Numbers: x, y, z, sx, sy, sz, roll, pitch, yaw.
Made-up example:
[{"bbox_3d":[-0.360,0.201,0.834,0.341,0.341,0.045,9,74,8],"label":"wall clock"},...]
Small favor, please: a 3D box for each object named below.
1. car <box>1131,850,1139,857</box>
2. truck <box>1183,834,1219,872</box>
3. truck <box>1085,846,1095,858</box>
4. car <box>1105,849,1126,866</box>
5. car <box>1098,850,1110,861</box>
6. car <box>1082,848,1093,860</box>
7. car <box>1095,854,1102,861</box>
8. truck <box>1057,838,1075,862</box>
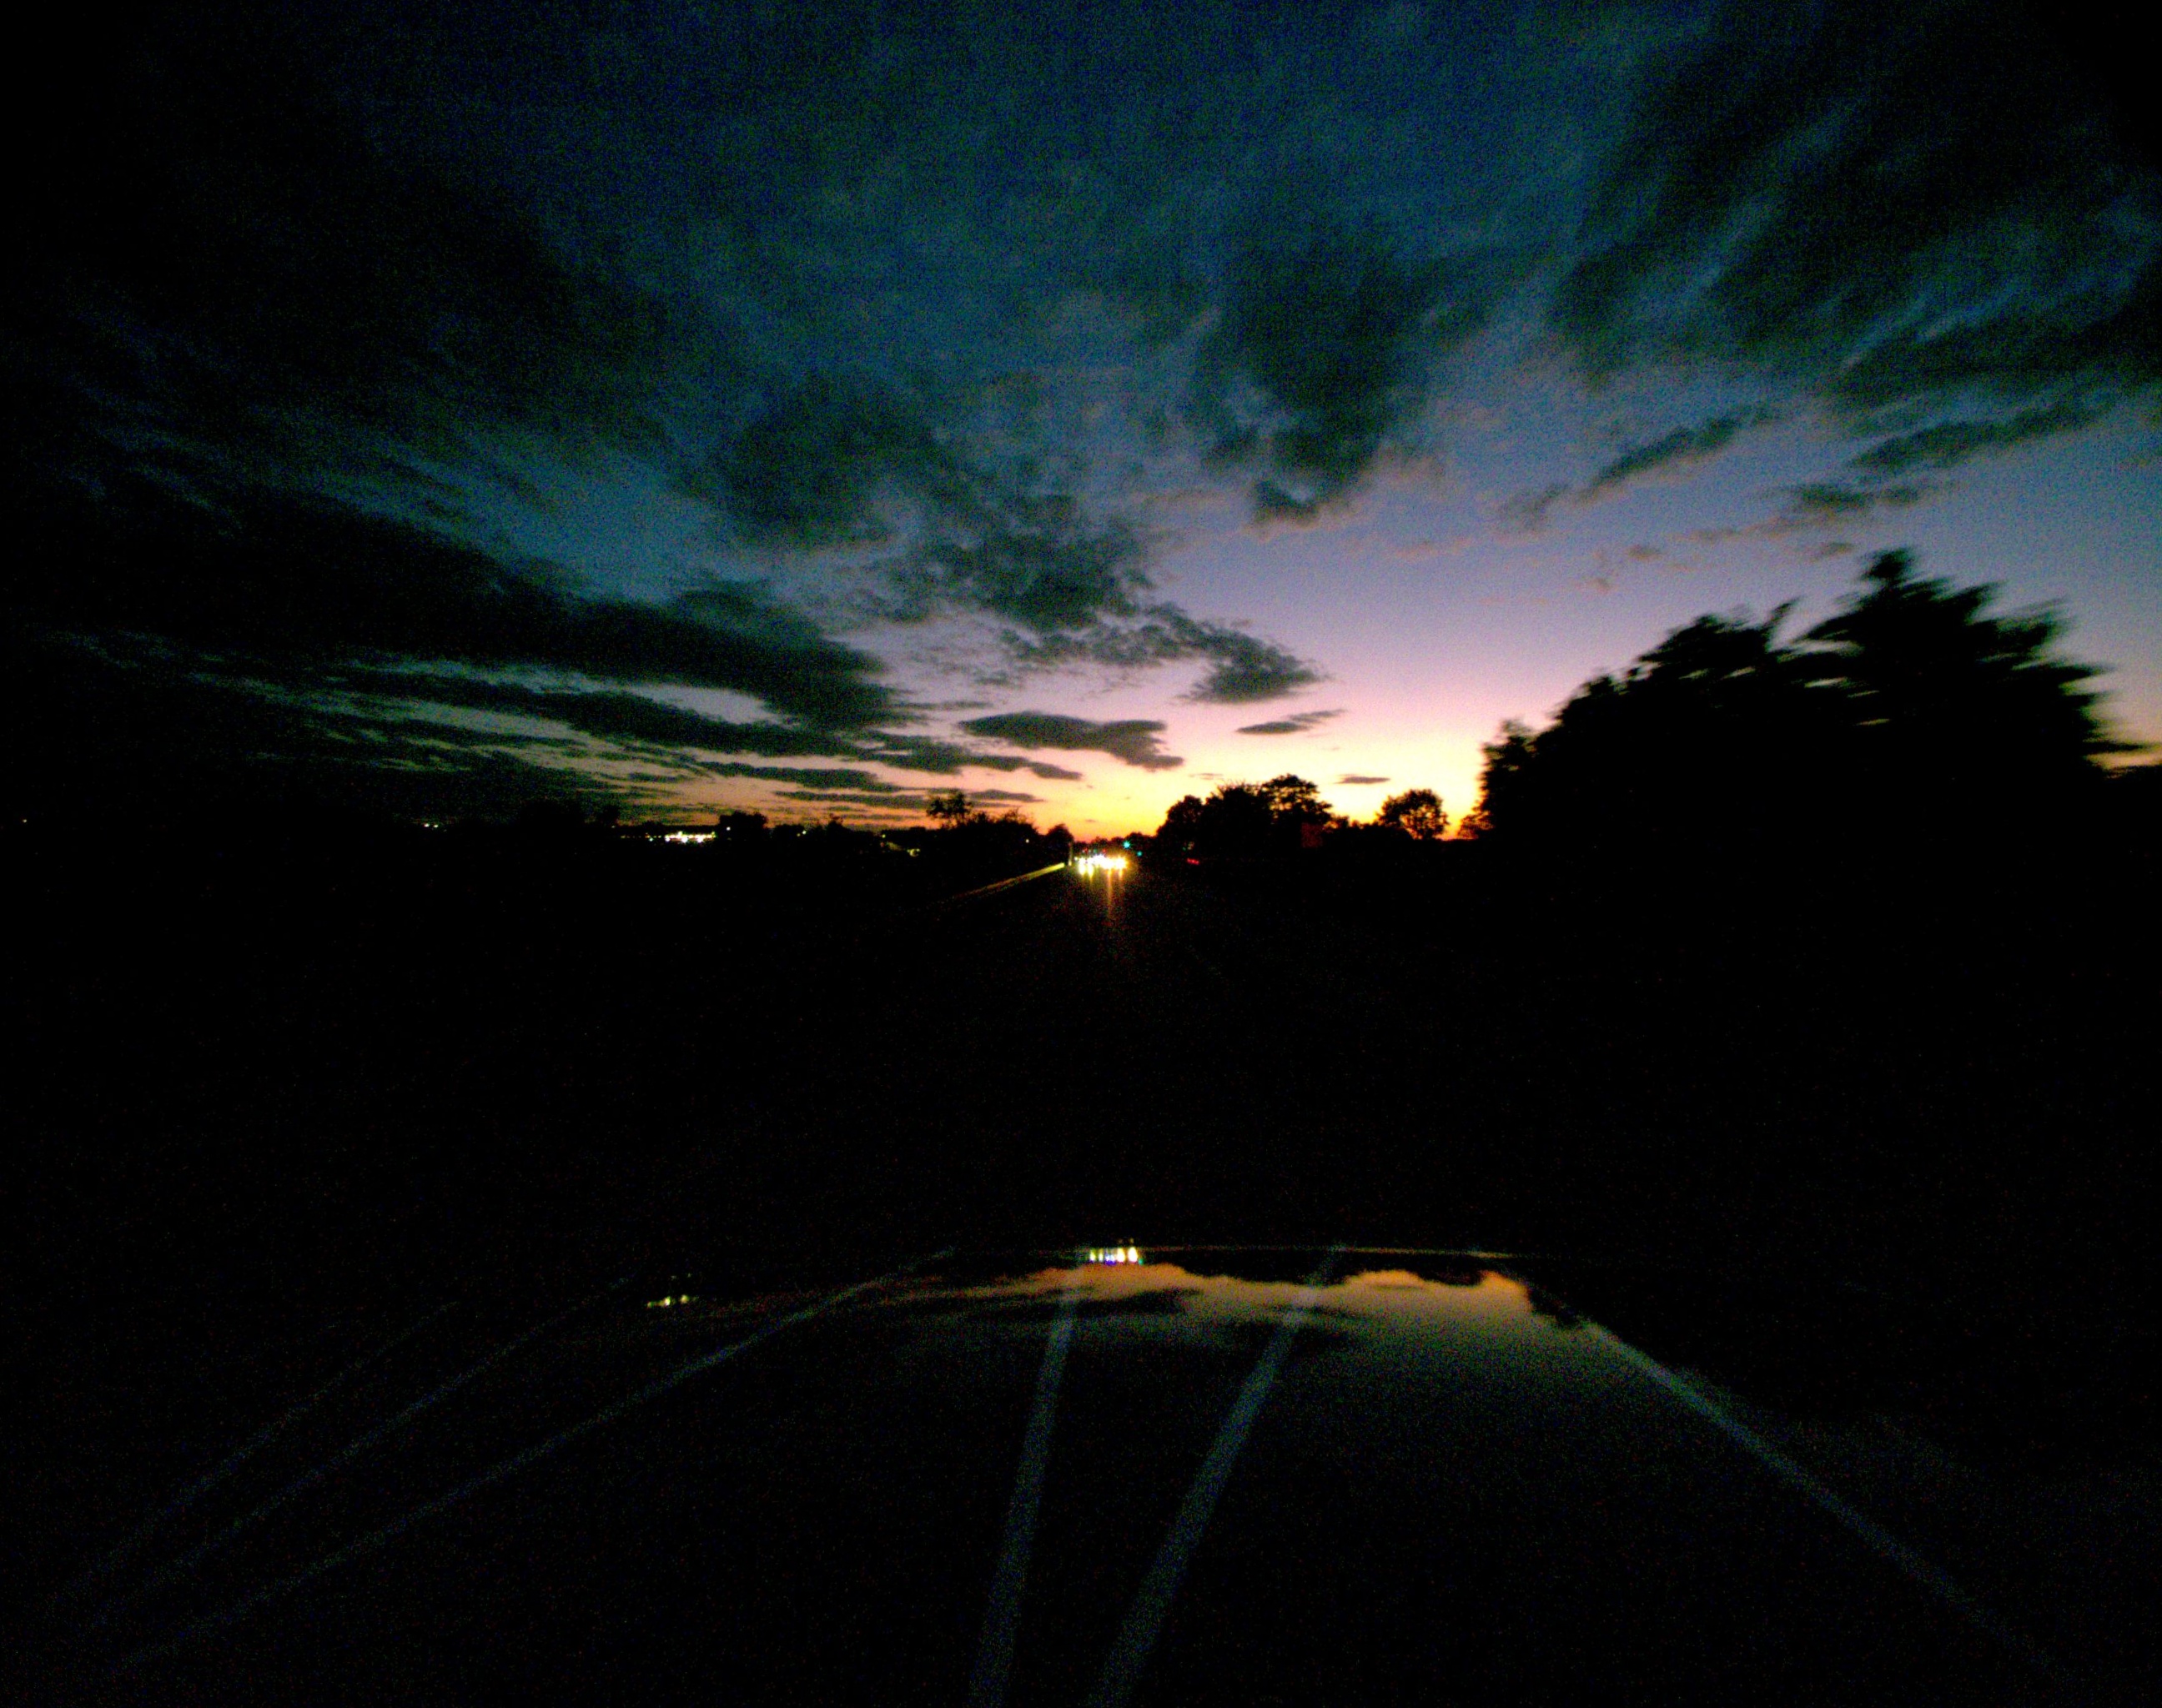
[{"bbox_3d":[16.574,-0.146,233.633,1.970,2.087,5.347,-2,0,0],"label":"car"},{"bbox_3d":[17.391,-0.199,111.269,3.210,5.225,12.607,-2,1,0],"label":"truck"},{"bbox_3d":[2.737,-0.554,246.592,3.016,3.674,9.057,-2,0,0],"label":"truck"},{"bbox_3d":[3.565,0.371,79.103,1.998,1.635,4.296,-2,0,0],"label":"car"},{"bbox_3d":[3.952,0.239,130.756,1.998,1.778,4.000,-2,1,1],"label":"car"},{"bbox_3d":[1.087,0.016,128.449,1.741,2.002,4.000,-2,0,0],"label":"car"},{"bbox_3d":[5.353,1.016,230.727,1.998,2.002,4.000,-2,1,2],"label":"car"},{"bbox_3d":[-2.497,-0.691,124.280,2.490,3.778,5.498,-2,1,2],"label":"truck"}]
